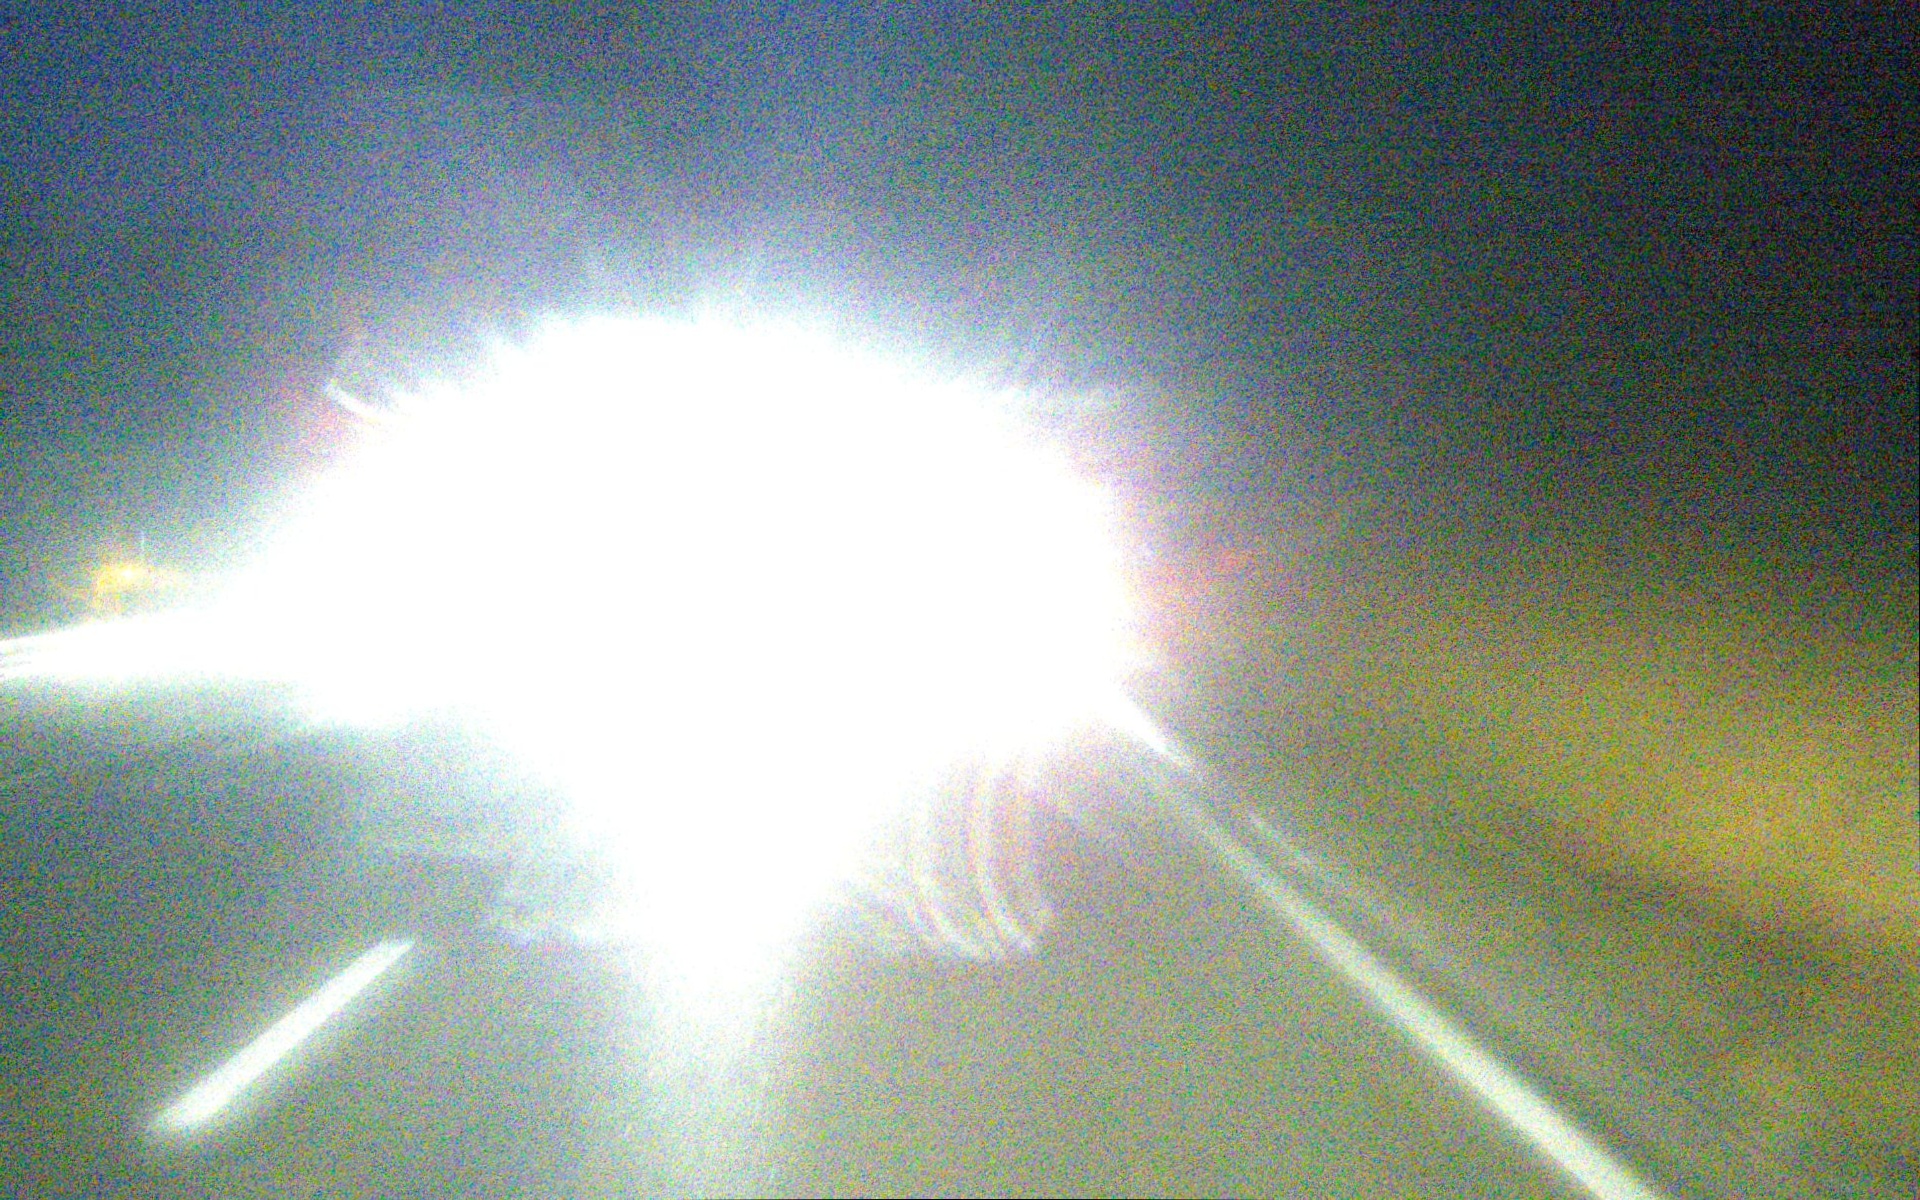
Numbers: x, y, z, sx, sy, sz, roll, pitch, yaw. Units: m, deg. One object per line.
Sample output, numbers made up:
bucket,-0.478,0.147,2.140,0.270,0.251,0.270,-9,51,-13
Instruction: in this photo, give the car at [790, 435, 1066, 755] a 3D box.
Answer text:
car,-0.304,-0.142,30.462,2.181,2.548,4.508,2,3,-1

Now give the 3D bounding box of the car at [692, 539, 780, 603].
car,-5.446,-0.725,84.027,1.974,1.511,4.347,0,1,-1
